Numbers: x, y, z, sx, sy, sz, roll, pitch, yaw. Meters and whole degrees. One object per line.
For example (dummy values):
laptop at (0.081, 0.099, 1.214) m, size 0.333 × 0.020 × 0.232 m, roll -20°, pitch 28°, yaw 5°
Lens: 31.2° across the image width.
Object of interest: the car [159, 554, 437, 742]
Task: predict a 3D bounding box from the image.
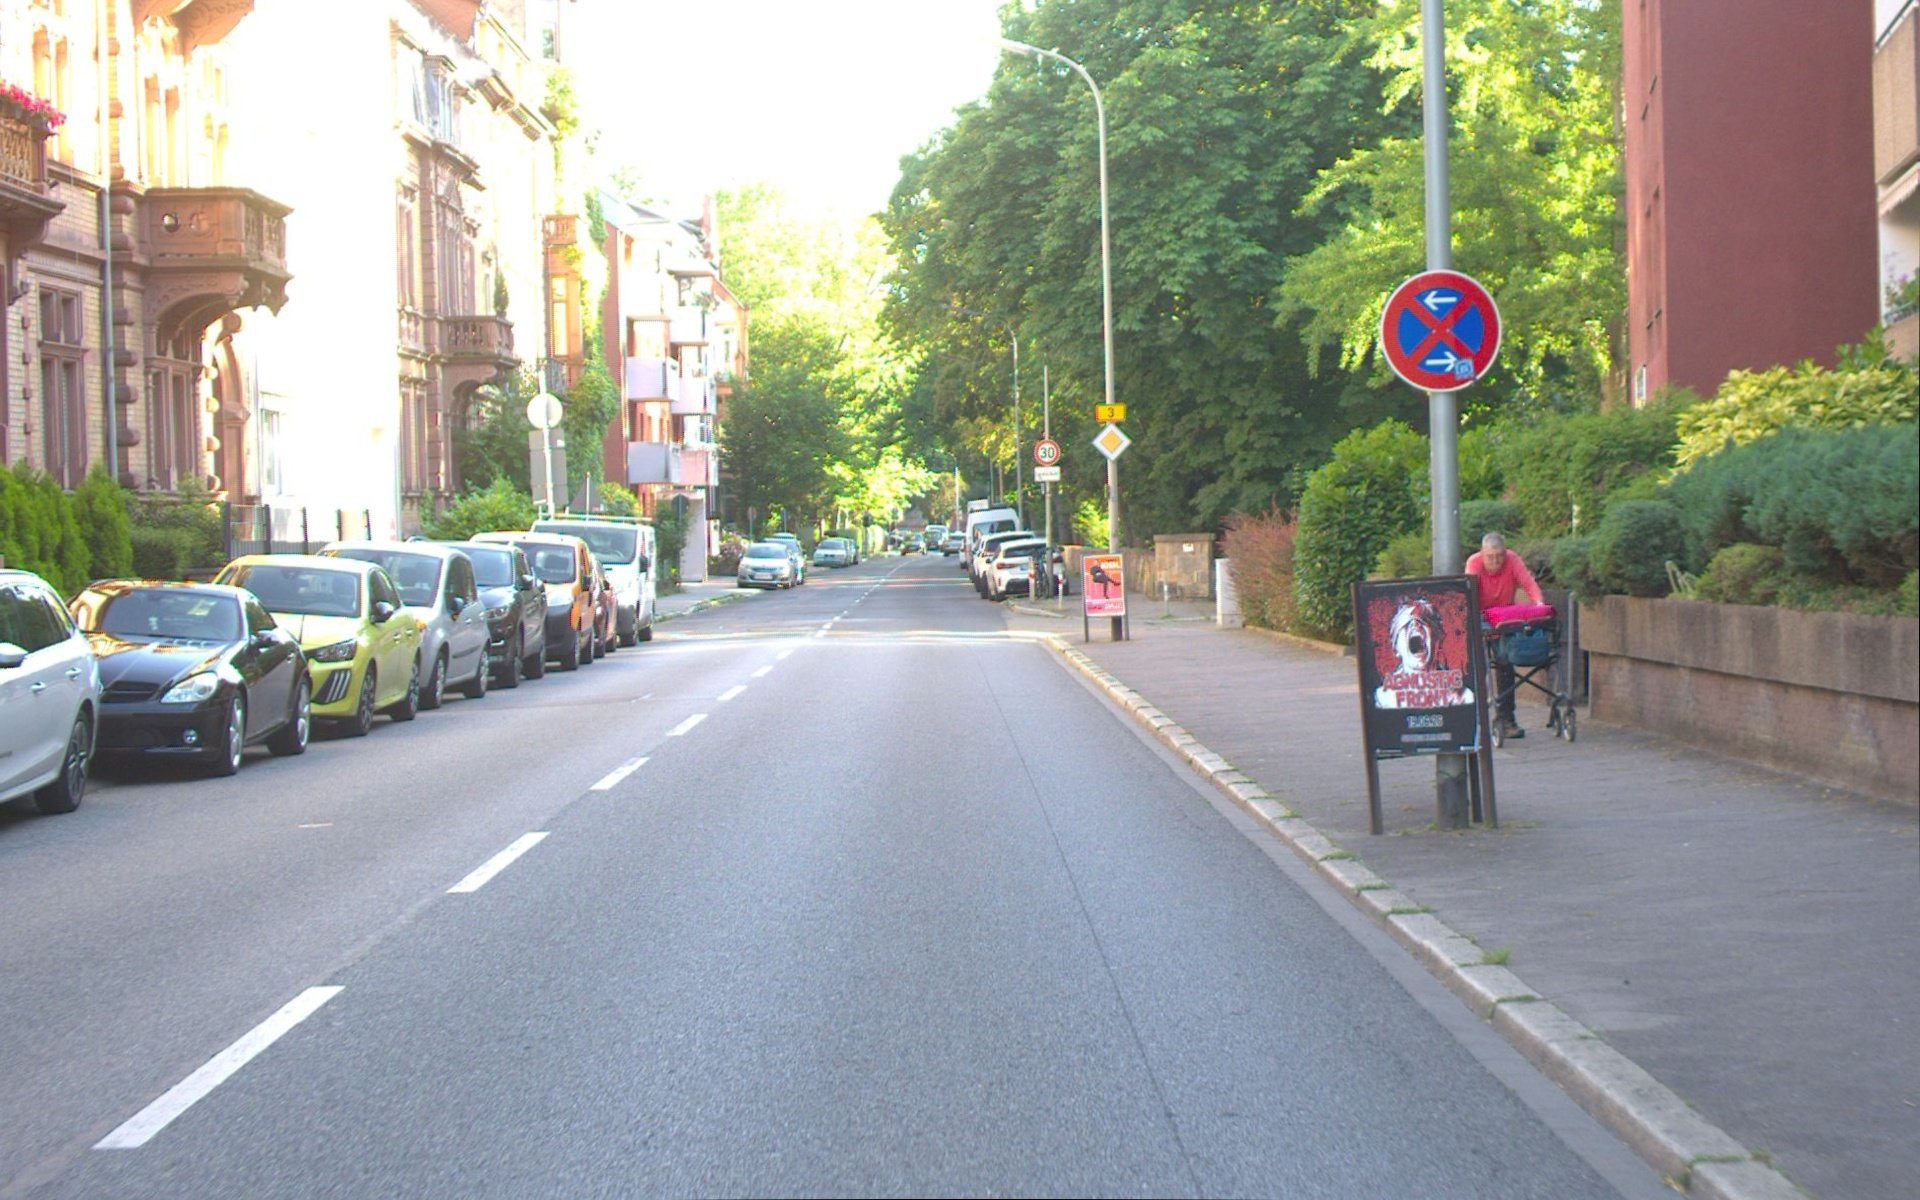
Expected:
car at (-5.600, 0.382, 29.506) m, size 1.702 × 1.498 × 4.073 m, roll 0°, pitch 0°, yaw -2°

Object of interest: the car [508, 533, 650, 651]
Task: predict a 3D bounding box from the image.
car at (-5.482, -0.155, 49.815) m, size 1.702 × 1.614 × 4.118 m, roll 0°, pitch 1°, yaw -2°

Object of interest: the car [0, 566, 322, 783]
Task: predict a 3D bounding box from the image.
car at (-5.692, 0.471, 24.428) m, size 1.702 × 1.362 × 3.860 m, roll 0°, pitch 1°, yaw -2°

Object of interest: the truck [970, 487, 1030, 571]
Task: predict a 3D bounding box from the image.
truck at (1.444, -2.617, 125.369) m, size 1.993 × 2.886 × 4.471 m, roll -2°, pitch 2°, yaw -1°

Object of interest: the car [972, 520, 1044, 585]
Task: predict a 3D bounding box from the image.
car at (1.415, -1.418, 100.417) m, size 1.993 × 1.731 × 4.000 m, roll -2°, pitch 2°, yaw 1°

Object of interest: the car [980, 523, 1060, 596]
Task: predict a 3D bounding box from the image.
car at (1.567, -1.076, 89.829) m, size 1.993 × 1.731 × 4.000 m, roll -2°, pitch 2°, yaw 1°

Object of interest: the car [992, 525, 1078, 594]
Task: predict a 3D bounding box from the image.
car at (1.826, -1.002, 84.225) m, size 1.993 × 1.512 × 4.000 m, roll -2°, pitch 2°, yaw 1°

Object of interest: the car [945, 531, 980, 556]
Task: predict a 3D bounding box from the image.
car at (0.141, -3.772, 227.501) m, size 1.993 × 1.486 × 4.471 m, roll -2°, pitch 2°, yaw -3°

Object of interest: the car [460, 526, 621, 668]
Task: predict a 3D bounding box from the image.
car at (-5.364, -0.078, 44.342) m, size 1.702 × 1.732 × 3.857 m, roll 0°, pitch 1°, yaw -2°

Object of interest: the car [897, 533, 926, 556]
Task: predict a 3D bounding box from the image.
car at (-3.502, -4.007, 248.761) m, size 1.993 × 1.486 × 4.471 m, roll -2°, pitch 2°, yaw 0°

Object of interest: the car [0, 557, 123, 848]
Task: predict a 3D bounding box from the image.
car at (-6.046, 0.552, 19.294) m, size 1.702 × 1.531 × 4.550 m, roll 0°, pitch 1°, yaw -2°

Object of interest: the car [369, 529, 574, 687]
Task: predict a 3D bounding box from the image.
car at (-5.565, 0.039, 39.595) m, size 1.702 × 1.702 × 4.441 m, roll 0°, pitch 1°, yaw 0°

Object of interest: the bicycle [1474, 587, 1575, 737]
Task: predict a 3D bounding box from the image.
bicycle at (3.742, 0.409, 22.819) m, size 0.566 × 0.967 × 0.492 m, roll 0°, pitch 2°, yaw -2°

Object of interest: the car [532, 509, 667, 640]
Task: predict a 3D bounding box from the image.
car at (-5.740, -0.448, 55.173) m, size 1.793 × 2.003 × 4.698 m, roll 0°, pitch 1°, yaw -2°

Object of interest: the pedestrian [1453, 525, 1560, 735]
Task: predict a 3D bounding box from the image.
pedestrian at (3.714, 0.194, 23.399) m, size 0.597 × 1.398 × 0.668 m, roll 0°, pitch 2°, yaw -2°

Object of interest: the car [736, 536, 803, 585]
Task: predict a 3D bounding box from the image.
car at (-6.431, -1.361, 116.542) m, size 1.993 × 1.486 × 4.471 m, roll -2°, pitch 2°, yaw 0°

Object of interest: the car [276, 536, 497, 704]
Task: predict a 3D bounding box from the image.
car at (-5.696, 0.156, 34.501) m, size 1.702 × 1.578 × 3.635 m, roll 0°, pitch 1°, yaw -2°

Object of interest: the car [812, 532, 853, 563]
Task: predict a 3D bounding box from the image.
car at (-6.771, -2.808, 183.140) m, size 1.993 × 1.486 × 4.471 m, roll -2°, pitch 2°, yaw 0°
